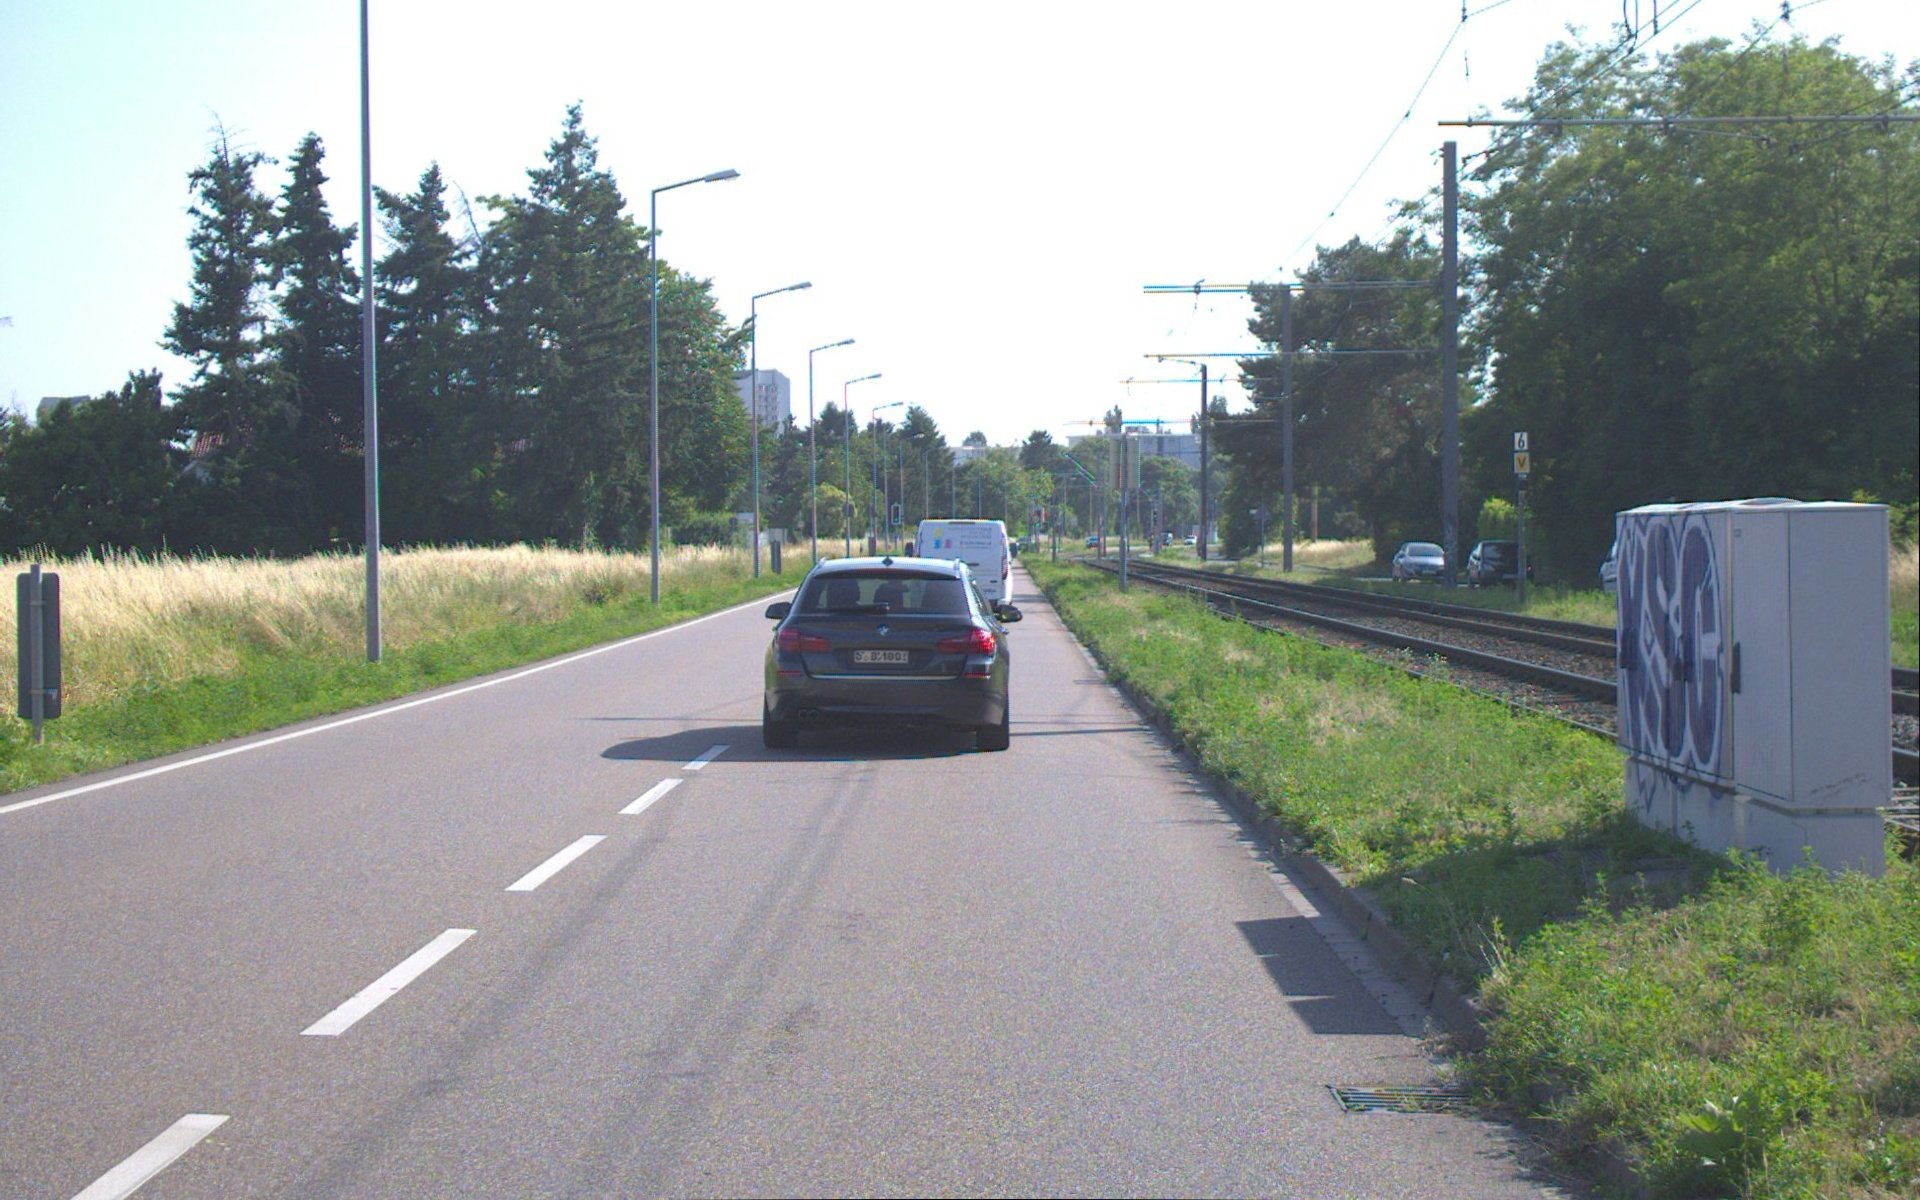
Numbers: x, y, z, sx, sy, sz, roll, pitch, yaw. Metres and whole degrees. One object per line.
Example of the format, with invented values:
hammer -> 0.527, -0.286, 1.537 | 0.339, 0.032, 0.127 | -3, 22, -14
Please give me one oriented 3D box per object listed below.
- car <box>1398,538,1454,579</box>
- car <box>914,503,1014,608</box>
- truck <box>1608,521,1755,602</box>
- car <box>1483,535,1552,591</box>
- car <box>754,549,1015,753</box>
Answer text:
car -> 17.086, -1.507, 126.161 | 1.621, 1.394, 3.490 | 1, 0, 1
car -> 0.037, -0.906, 67.801 | 1.857, 1.981, 5.108 | 1, 1, -1
truck -> 16.736, -0.909, 80.052 | 2.204, 1.813, 5.930 | 0, 1, 0
car -> 17.521, -1.153, 108.161 | 1.735, 1.674, 3.543 | 1, 0, 3
car -> -0.513, 0.336, 27.238 | 1.869, 1.447, 4.744 | 1, 1, 1
